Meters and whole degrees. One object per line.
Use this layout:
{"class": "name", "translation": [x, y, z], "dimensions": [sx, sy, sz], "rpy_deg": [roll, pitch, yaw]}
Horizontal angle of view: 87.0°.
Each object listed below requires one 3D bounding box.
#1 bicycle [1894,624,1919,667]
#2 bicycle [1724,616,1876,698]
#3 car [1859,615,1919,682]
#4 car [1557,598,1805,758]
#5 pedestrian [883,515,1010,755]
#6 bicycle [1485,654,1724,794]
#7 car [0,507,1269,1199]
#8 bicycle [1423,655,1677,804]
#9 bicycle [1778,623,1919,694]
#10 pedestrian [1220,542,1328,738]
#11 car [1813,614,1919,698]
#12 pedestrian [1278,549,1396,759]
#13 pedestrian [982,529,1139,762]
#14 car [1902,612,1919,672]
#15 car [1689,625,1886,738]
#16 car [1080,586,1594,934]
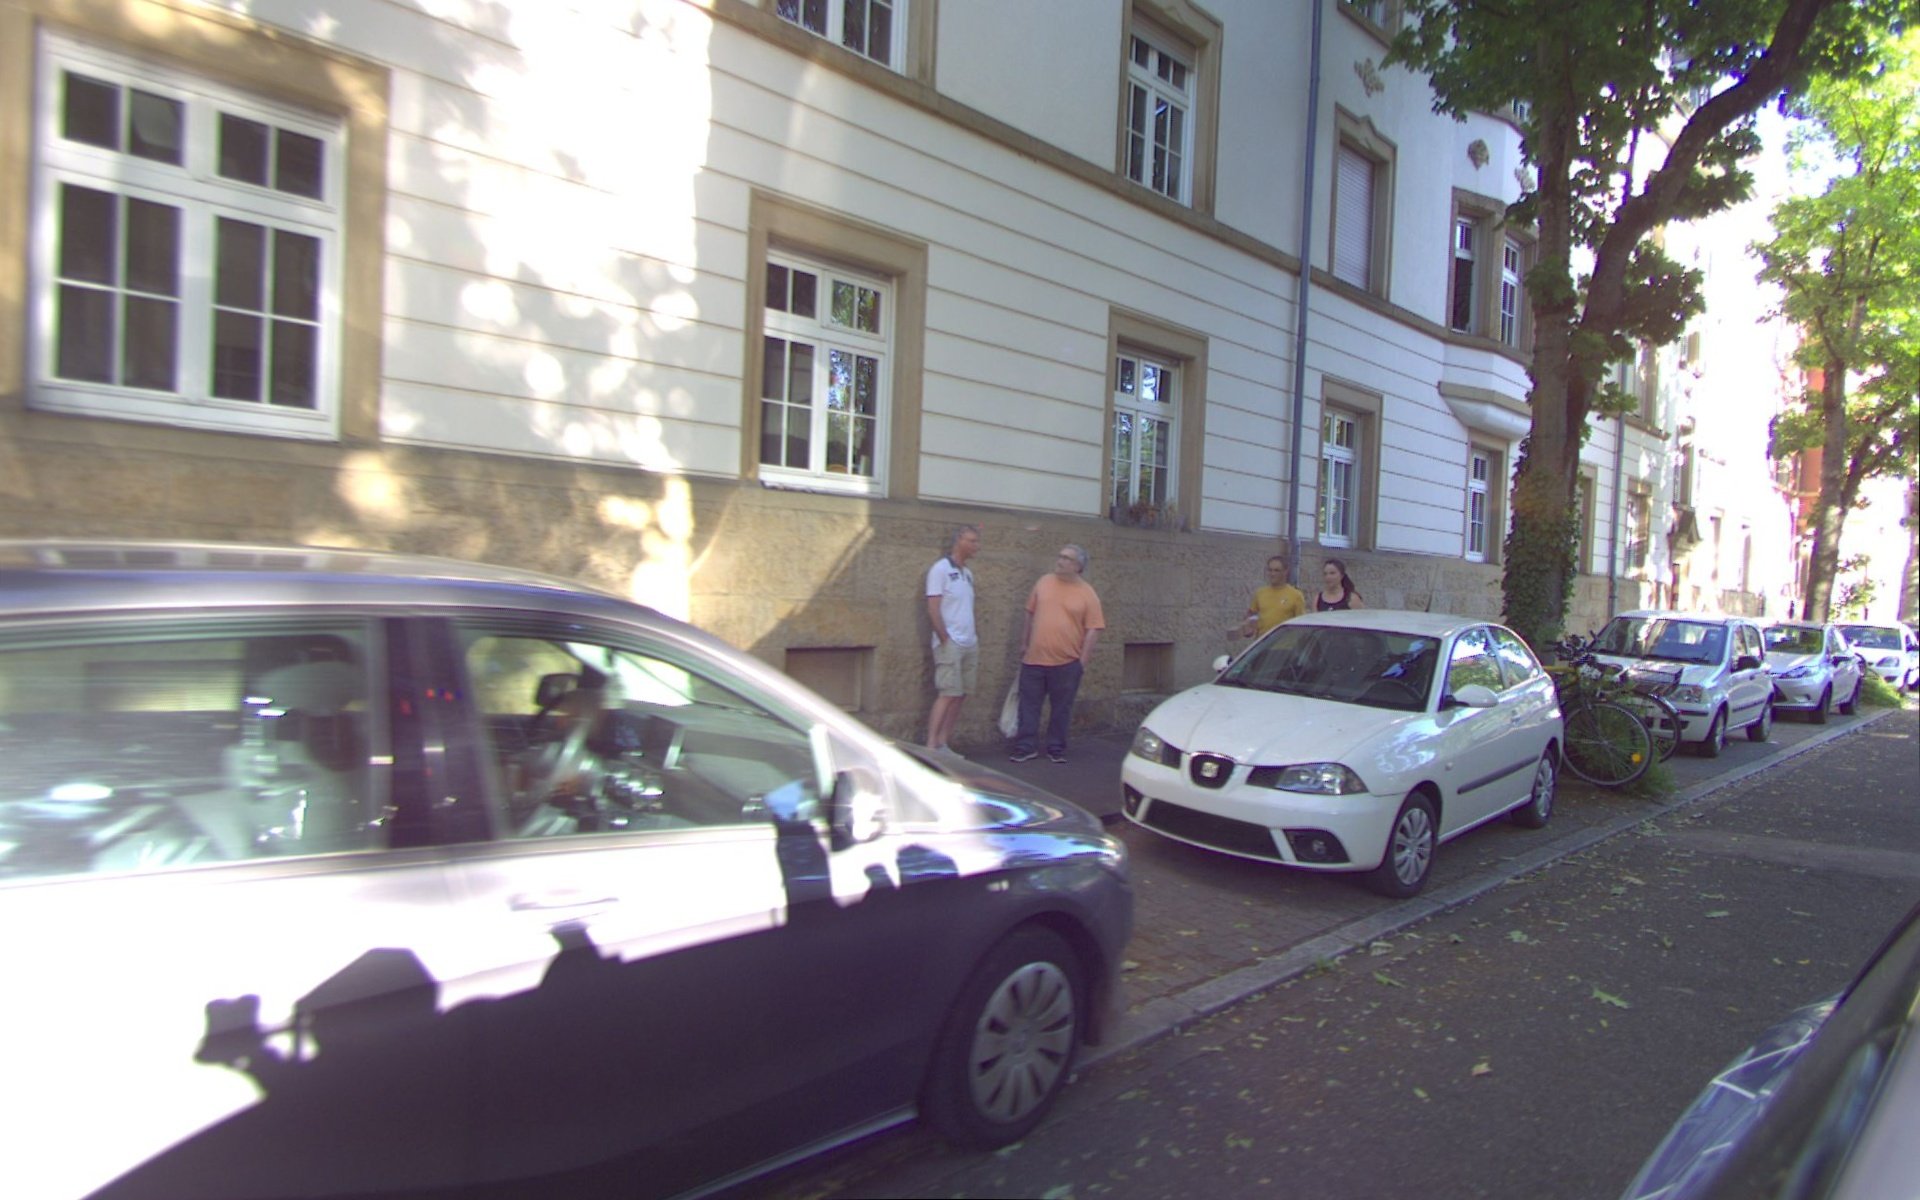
{"class": "bicycle", "translation": [27.531, 1.347, 28.400], "dimensions": [0.559, 1.181, 1.815], "rpy_deg": [2, 3, -41]}
{"class": "bicycle", "translation": [15.407, 1.007, 18.614], "dimensions": [0.746, 1.244, 1.975], "rpy_deg": [2, 4, -39]}
{"class": "car", "translation": [24.168, 1.207, 25.467], "dimensions": [4.382, 1.532, 1.790], "rpy_deg": [1, 1, -42]}
{"class": "car", "translation": [8.552, 0.820, 11.909], "dimensions": [3.480, 1.529, 1.524], "rpy_deg": [1, 2, -41]}
{"class": "pedestrian", "translation": [-0.103, 0.246, 7.732], "dimensions": [0.744, 1.726, 0.490], "rpy_deg": [1, 3, -42]}
{"class": "bicycle", "translation": [6.017, 1.107, 9.533], "dimensions": [0.595, 1.052, 1.774], "rpy_deg": [2, 1, -40]}
{"class": "car", "translation": [-1.168, 0.627, 2.602], "dimensions": [4.336, 1.569, 1.792], "rpy_deg": [1, 3, -44]}
{"class": "bicycle", "translation": [5.073, 1.058, 8.792], "dimensions": [0.720, 0.961, 1.720], "rpy_deg": [2, 3, -40]}
{"class": "bicycle", "translation": [16.850, 1.070, 19.157], "dimensions": [0.589, 1.086, 1.975], "rpy_deg": [2, 4, -39]}
{"class": "pedestrian", "translation": [2.900, 0.347, 9.356], "dimensions": [0.676, 1.722, 0.597], "rpy_deg": [2, 2, -39]}
{"class": "car", "translation": [19.548, 1.120, 21.467], "dimensions": [3.682, 1.506, 1.600], "rpy_deg": [1, 3, -41]}
{"class": "pedestrian", "translation": [3.345, 0.457, 8.973], "dimensions": [0.862, 1.756, 0.521], "rpy_deg": [2, 2, -39]}
{"class": "pedestrian", "translation": [0.799, 0.323, 8.070], "dimensions": [0.860, 1.715, 0.779], "rpy_deg": [1, 3, -43]}
{"class": "car", "translation": [30.370, 1.323, 30.915], "dimensions": [4.859, 1.737, 1.889], "rpy_deg": [1, 2, -43]}
{"class": "car", "translation": [12.941, 1.154, 15.736], "dimensions": [4.084, 1.411, 1.626], "rpy_deg": [1, 3, -41]}
{"class": "car", "translation": [2.615, 0.749, 6.498], "dimensions": [1.612, 1.496, 3.807], "rpy_deg": [4, 2, 45]}
